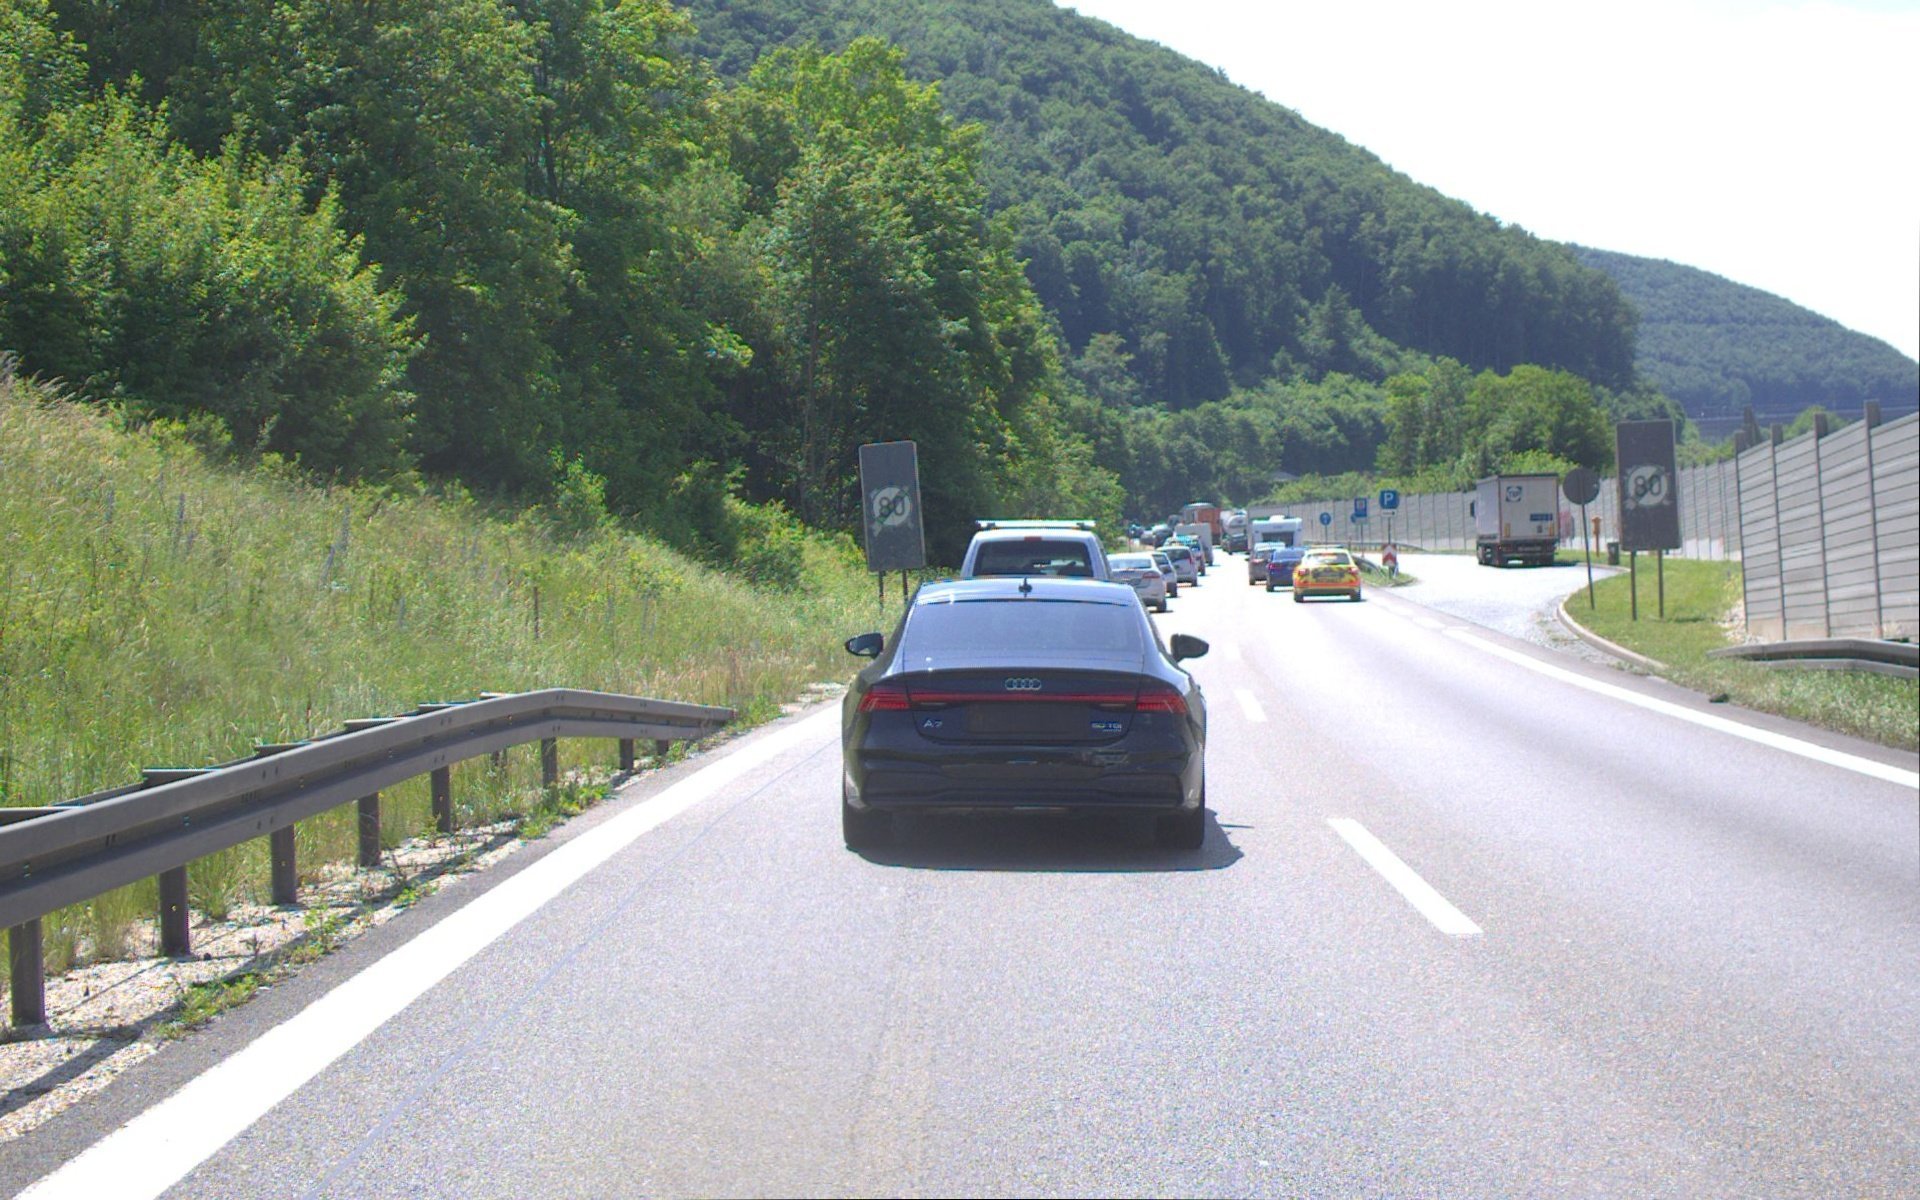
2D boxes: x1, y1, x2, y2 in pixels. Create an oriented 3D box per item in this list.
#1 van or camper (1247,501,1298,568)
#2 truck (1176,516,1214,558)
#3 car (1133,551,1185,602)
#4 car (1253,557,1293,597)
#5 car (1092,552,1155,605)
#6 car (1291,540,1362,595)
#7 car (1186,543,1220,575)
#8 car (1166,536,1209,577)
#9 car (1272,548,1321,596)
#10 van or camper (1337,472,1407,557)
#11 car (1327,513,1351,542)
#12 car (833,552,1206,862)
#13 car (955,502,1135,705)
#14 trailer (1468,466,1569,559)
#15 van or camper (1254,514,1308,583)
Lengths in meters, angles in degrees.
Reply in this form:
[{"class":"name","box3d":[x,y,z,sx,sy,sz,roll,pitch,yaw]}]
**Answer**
[{"class":"van or camper","box3d":[18.918,-3.956,208.375,2.795,3.894,6.166,1,0,3]},{"class":"truck","box3d":[14.935,-3.984,217.953,2.065,2.596,5.612,2,1,6]},{"class":"car","box3d":[6.392,-0.763,110.198,1.521,1.547,3.514,2,1,5]},{"class":"car","box3d":[12.150,-0.897,133.607,1.530,1.520,3.596,1,0,5]},{"class":"car","box3d":[4.081,-0.542,86.181,1.521,1.290,3.514,1,1,2]},{"class":"car","box3d":[10.139,-0.914,95.383,1.879,1.493,3.999,0,1,5]},{"class":"car","box3d":[12.062,-2.015,170.621,1.521,1.547,3.513,2,1,6]},{"class":"car","box3d":[9.001,-1.719,136.059,1.521,1.547,3.513,2,1,6]},{"class":"car","box3d":[11.033,-0.922,112.914,1.530,1.520,3.596,1,0,5]},{"class":"van or camper","box3d":[19.287,-3.968,161.260,2.795,3.828,6.166,1,0,3]},{"class":"car","box3d":[26.495,-5.067,240.350,1.576,2.007,3.427,-1,1,5]},{"class":"car","box3d":[0.320,0.500,18.493,1.812,1.509,3.514,0,1,1]},{"class":"car","box3d":[0.930,0.016,35.772,1.521,1.961,3.513,2,1,6]},{"class":"trailer","box3d":[24.524,-3.815,151.430,3.412,3.887,11.150,0,1,4]},{"class":"van or camper","box3d":[15.035,-2.405,161.130,2.430,3.144,5.202,1,0,5]}]
